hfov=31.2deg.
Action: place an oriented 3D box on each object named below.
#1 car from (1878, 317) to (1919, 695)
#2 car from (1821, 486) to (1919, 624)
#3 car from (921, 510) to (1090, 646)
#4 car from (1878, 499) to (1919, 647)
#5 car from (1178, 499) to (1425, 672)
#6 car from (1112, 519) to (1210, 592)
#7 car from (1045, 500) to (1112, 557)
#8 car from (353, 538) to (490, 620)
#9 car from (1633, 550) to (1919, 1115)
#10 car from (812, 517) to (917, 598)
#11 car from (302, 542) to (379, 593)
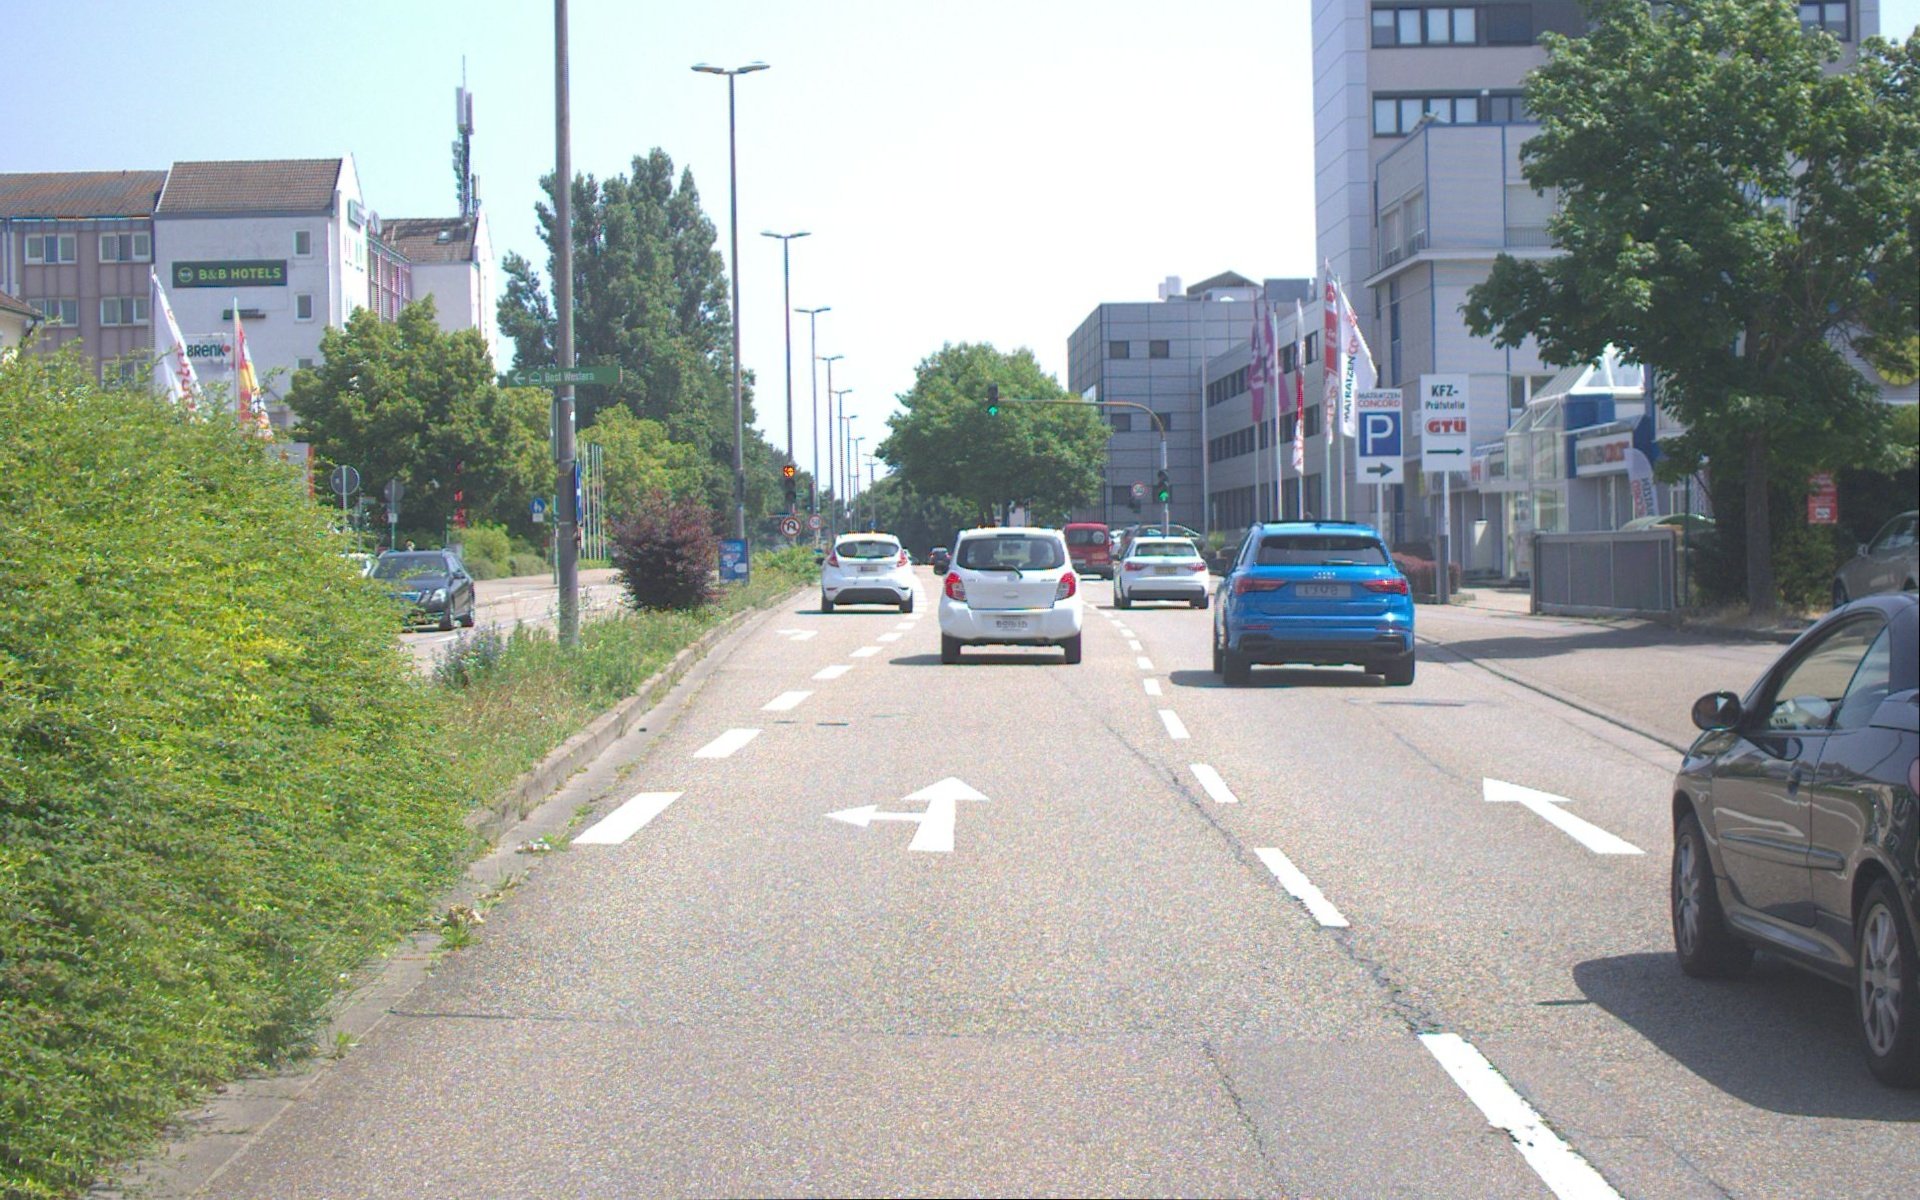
[{"bbox_3d":[8.314,-0.696,22.888,2.133,2.830,7.310,-4,1,-1],"label":"car"},{"bbox_3d":[11.511,-0.489,40.156,1.749,1.506,4.000,0,-1,-3],"label":"car"},{"bbox_3d":[0.488,-0.259,39.711,1.712,1.505,3.247,0,1,-3],"label":"car"},{"bbox_3d":[11.727,-0.266,35.756,3.988,1.506,1.745,0,-1,6],"label":"car"},{"bbox_3d":[3.353,-0.199,34.540,1.913,1.591,4.396,0,2,-2],"label":"car"},{"bbox_3d":[3.943,-0.887,67.918,1.667,1.394,3.793,0,1,0],"label":"car"},{"bbox_3d":[3.742,-2.246,109.142,1.794,1.723,3.973,0,0,-3],"label":"car"},{"bbox_3d":[-9.899,-0.414,63.460,1.897,1.383,4.067,-2,1,-1],"label":"car"},{"bbox_3d":[3.231,0.568,10.493,1.600,1.420,3.661,0,1,-1],"label":"car"},{"bbox_3d":[-1.746,-0.764,64.034,1.830,1.445,4.000,0,0,0],"label":"car"},{"bbox_3d":[-17.923,-0.929,99.561,1.901,1.349,4.000,0,-1,-6],"label":"car"}]
